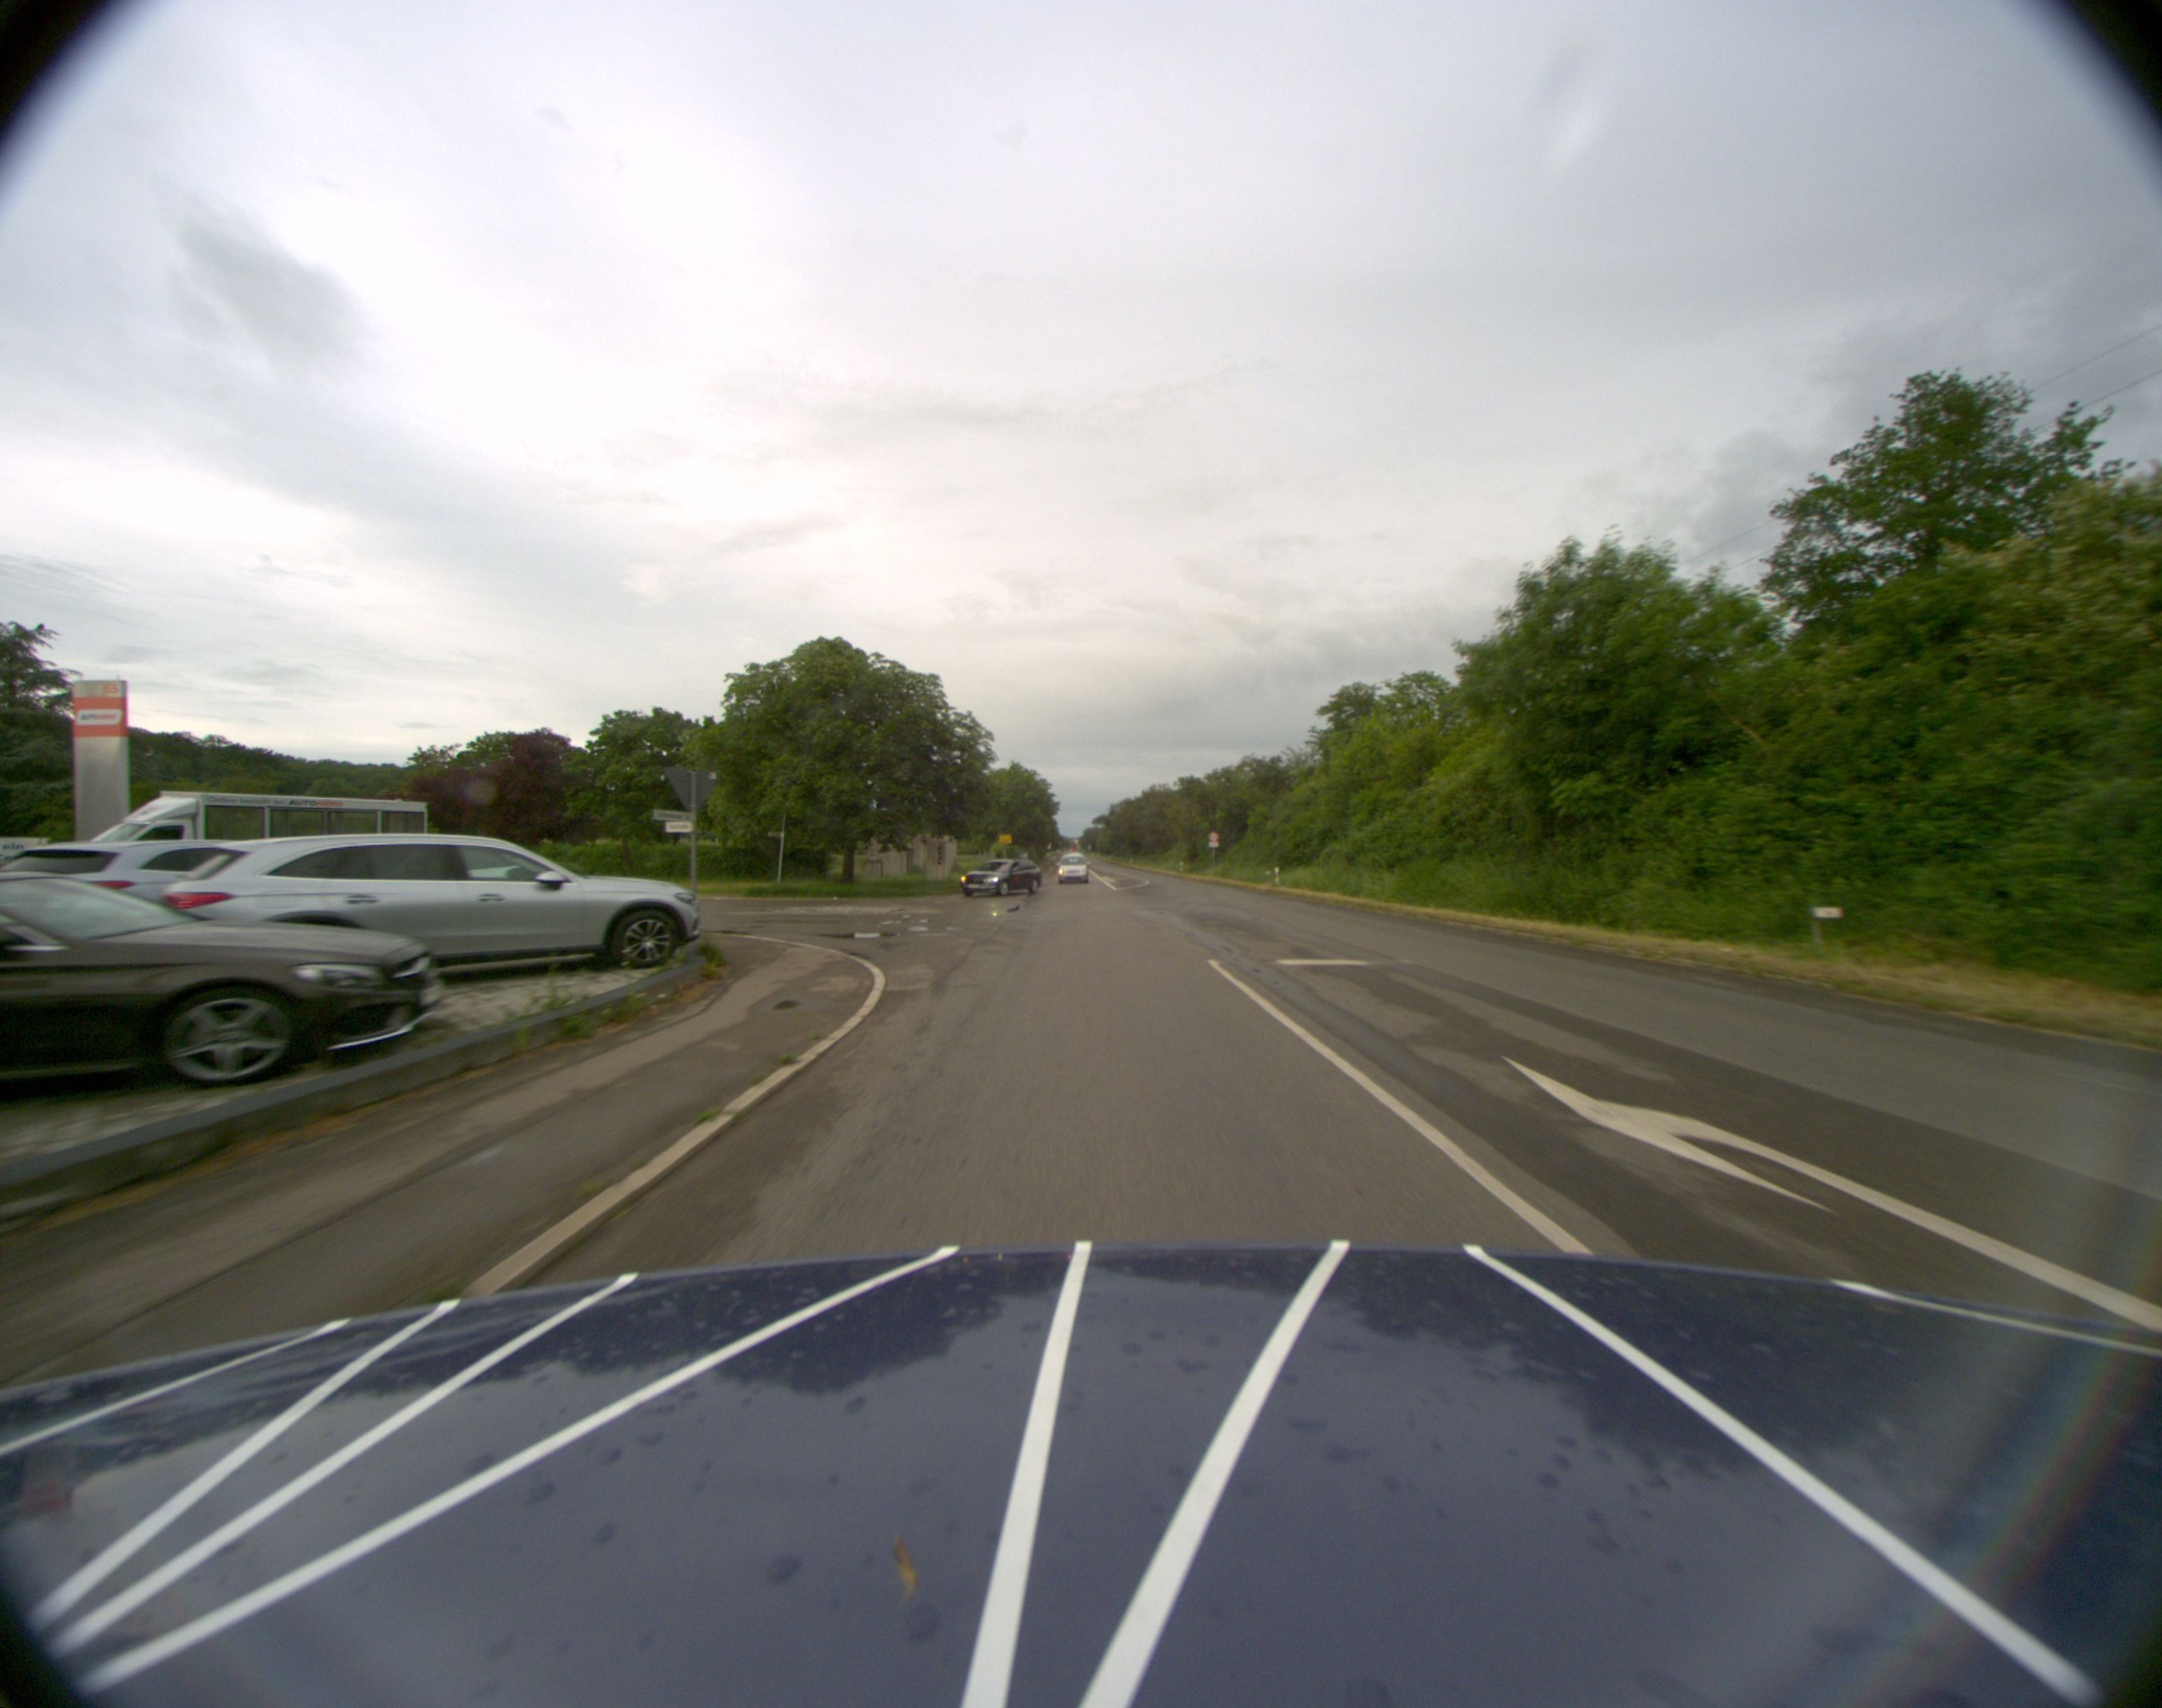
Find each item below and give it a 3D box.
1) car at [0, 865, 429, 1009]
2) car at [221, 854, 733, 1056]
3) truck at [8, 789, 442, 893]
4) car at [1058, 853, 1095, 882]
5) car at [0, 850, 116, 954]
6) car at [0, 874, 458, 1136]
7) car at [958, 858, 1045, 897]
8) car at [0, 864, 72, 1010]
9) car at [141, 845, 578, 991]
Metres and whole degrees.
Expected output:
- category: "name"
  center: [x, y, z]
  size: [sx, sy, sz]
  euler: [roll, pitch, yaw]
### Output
- category: "car"
  center: [-13.127, 1.081, 11.859]
  size: [2.027, 1.666, 4.503]
  euler: [-2, 1, -2]
- category: "car"
  center: [-6.793, 0.913, 9.003]
  size: [1.961, 1.661, 4.373]
  euler: [-1, 1, 43]
- category: "truck"
  center: [-26.042, -0.468, 23.970]
  size: [2.782, 2.608, 8.486]
  euler: [-3, 1, 23]
- category: "car"
  center: [-0.236, 0.746, 43.446]
  size: [1.998, 1.537, 4.000]
  euler: [-1, 0, 1]
- category: "car"
  center: [-15.926, 0.671, 9.697]
  size: [2.076, 1.452, 4.759]
  euler: [-1, -1, -17]
- category: "car"
  center: [-6.894, 0.905, 4.894]
  size: [4.148, 1.386, 1.847]
  euler: [-1, 1, -29]
- category: "car"
  center: [-3.161, 0.920, 31.190]
  size: [1.794, 1.443, 4.265]
  euler: [-1, 0, 21]
- category: "car"
  center: [-12.885, 0.849, 6.937]
  size: [4.133, 1.452, 1.767]
  euler: [0, -1, -41]
- category: "car"
  center: [-10.017, 0.729, 11.258]
  size: [1.812, 1.663, 4.709]
  euler: [-2, 1, 2]
